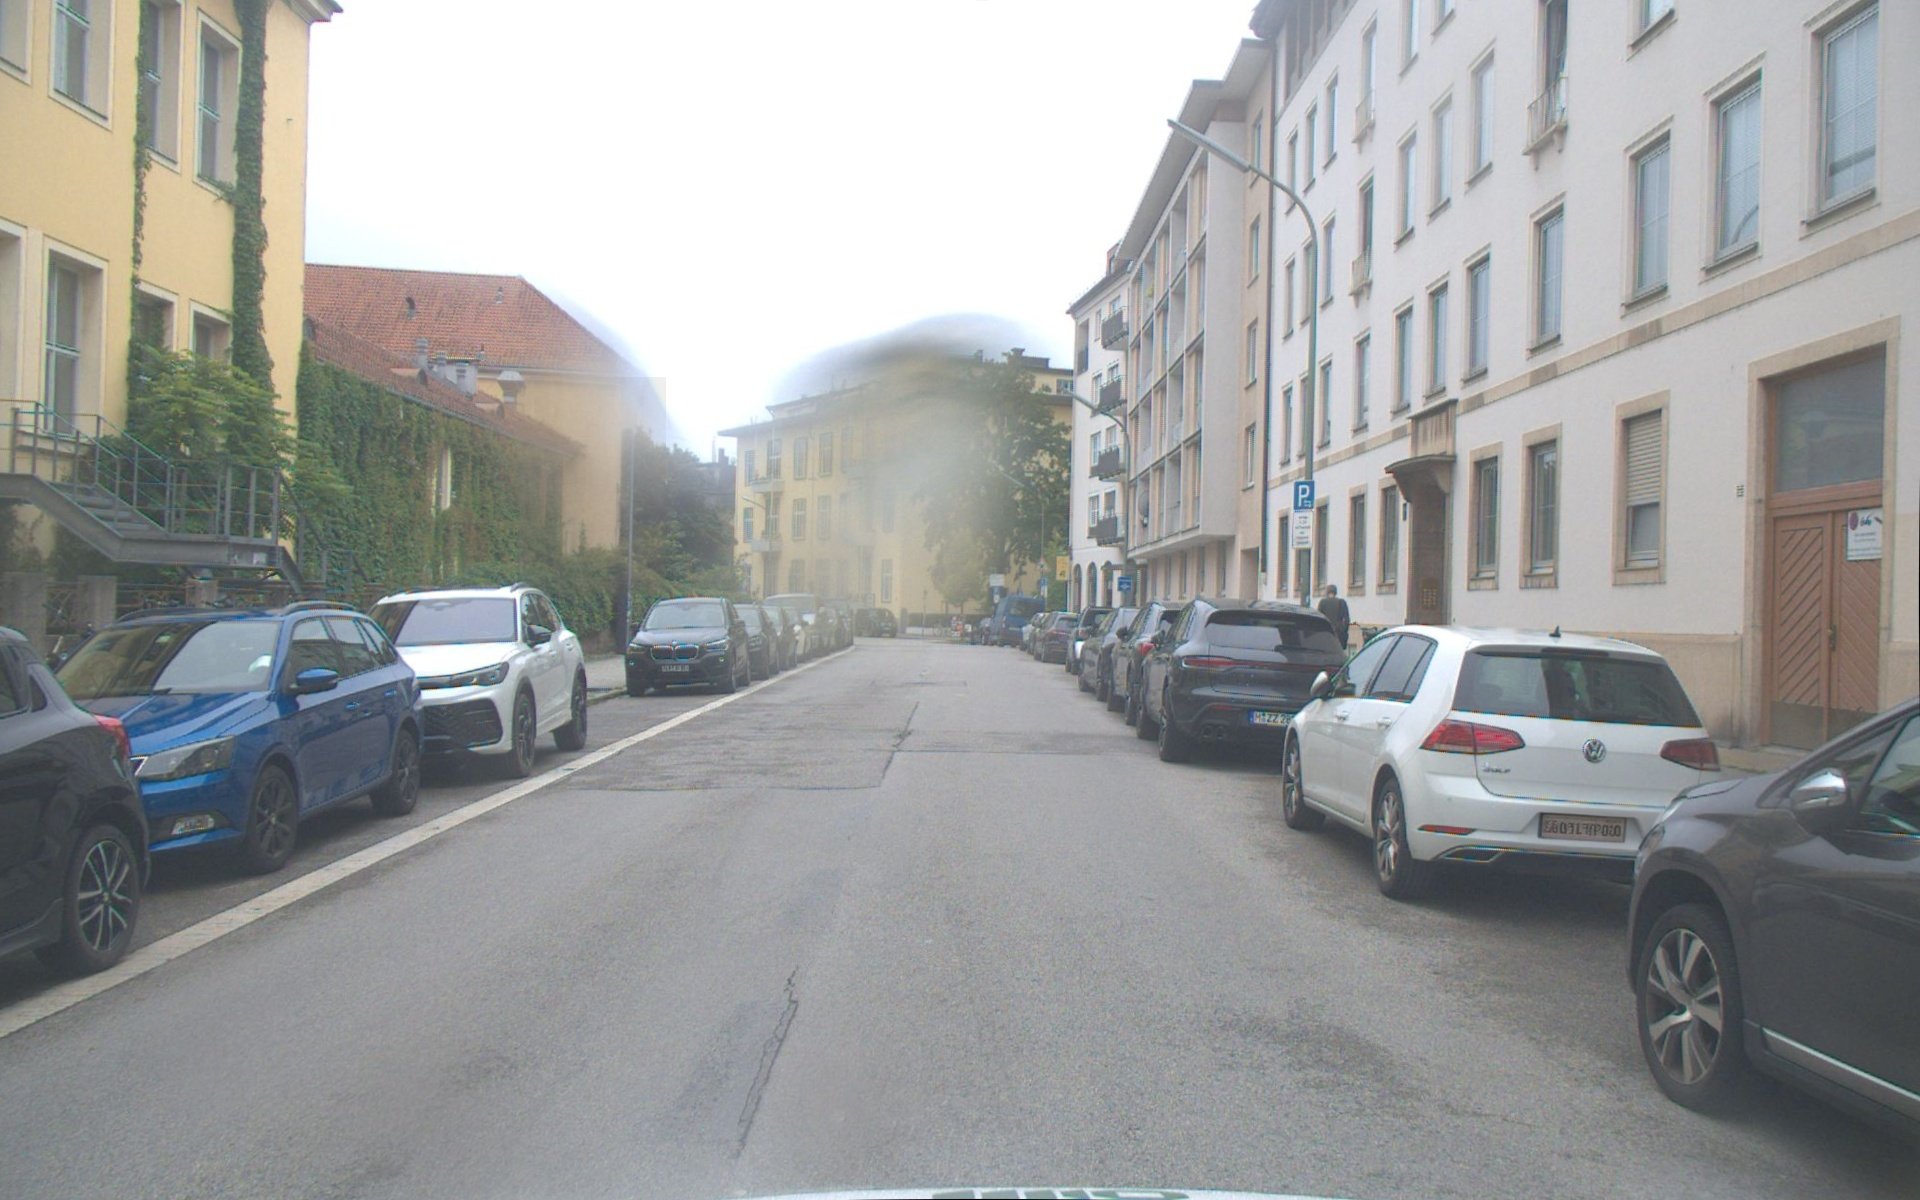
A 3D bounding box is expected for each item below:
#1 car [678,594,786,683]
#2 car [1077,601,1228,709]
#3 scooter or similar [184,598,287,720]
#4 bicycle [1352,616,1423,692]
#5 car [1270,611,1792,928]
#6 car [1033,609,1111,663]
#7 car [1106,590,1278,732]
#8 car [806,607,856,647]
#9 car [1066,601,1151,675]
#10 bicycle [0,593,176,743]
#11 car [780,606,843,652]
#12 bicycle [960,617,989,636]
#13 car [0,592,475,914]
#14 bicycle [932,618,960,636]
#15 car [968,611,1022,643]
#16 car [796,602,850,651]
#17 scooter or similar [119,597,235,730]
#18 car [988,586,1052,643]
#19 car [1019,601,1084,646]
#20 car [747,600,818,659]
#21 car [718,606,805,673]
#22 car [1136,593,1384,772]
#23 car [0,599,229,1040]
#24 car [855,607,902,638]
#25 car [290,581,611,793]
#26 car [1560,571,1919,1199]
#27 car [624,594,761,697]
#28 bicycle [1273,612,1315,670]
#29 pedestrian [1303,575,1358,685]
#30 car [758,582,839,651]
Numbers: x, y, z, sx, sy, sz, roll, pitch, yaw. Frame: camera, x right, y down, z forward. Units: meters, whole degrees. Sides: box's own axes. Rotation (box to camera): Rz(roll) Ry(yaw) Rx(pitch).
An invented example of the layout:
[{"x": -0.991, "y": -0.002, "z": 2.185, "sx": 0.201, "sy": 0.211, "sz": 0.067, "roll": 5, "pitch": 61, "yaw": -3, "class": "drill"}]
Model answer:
[{"x": -4.611, "y": 0.753, "z": 33.983, "sx": 1.689, "sy": 1.658, "sz": 4.464, "roll": -1, "pitch": 0, "yaw": -2, "class": "car"}, {"x": 3.104, "y": 0.846, "z": 27.709, "sx": 1.766, "sy": 1.510, "sz": 5.318, "roll": 4, "pitch": 0, "yaw": -1, "class": "car"}, {"x": -8.616, "y": 0.681, "z": 19.724, "sx": 0.548, "sy": 1.393, "sz": 1.501, "roll": 0, "pitch": 0, "yaw": 0, "class": "scooter or similar"}, {"x": 7.429, "y": 0.917, "z": 28.805, "sx": 0.503, "sy": 1.243, "sz": 1.986, "roll": 1, "pitch": 0, "yaw": -7, "class": "bicycle"}, {"x": 3.192, "y": 0.836, "z": 10.273, "sx": 1.638, "sy": 1.454, "sz": 4.530, "roll": 3, "pitch": 0, "yaw": 0, "class": "car"}, {"x": 3.253, "y": 1.015, "z": 48.809, "sx": 1.710, "sy": 1.412, "sz": 4.951, "roll": 3, "pitch": 0, "yaw": -2, "class": "car"}, {"x": 3.027, "y": 0.760, "z": 22.455, "sx": 1.612, "sy": 1.617, "sz": 4.634, "roll": 4, "pitch": 0, "yaw": 0, "class": "car"}, {"x": -5.052, "y": 1.050, "z": 65.369, "sx": 1.660, "sy": 1.417, "sz": 4.499, "roll": -3, "pitch": 0, "yaw": -2, "class": "car"}, {"x": 3.372, "y": 0.849, "z": 38.016, "sx": 1.616, "sy": 1.521, "sz": 2.881, "roll": 4, "pitch": 0, "yaw": 0, "class": "car"}, {"x": -8.520, "y": 0.630, "z": 16.157, "sx": 0.667, "sy": 1.352, "sz": 2.113, "roll": 1, "pitch": 0, "yaw": 0, "class": "bicycle"}, {"x": -4.932, "y": 0.945, "z": 55.306, "sx": 1.619, "sy": 1.439, "sz": 4.770, "roll": -2, "pitch": 0, "yaw": 0, "class": "car"}, {"x": 0.983, "y": 1.798, "z": 112.070, "sx": 1.881, "sy": 1.222, "sz": 0.596, "roll": 1, "pitch": -1, "yaw": 13, "class": "bicycle"}, {"x": -4.577, "y": 0.801, "z": 10.534, "sx": 1.669, "sy": 1.528, "sz": 4.493, "roll": -4, "pitch": 0, "yaw": -2, "class": "car"}, {"x": -0.949, "y": 1.838, "z": 113.254, "sx": 1.890, "sy": 1.222, "sz": 0.593, "roll": 1, "pitch": -1, "yaw": 37, "class": "bicycle"}, {"x": 1.706, "y": 1.304, "z": 81.932, "sx": 1.648, "sy": 1.413, "sz": 4.292, "roll": 5, "pitch": -2, "yaw": -12, "class": "car"}, {"x": -4.932, "y": 0.934, "z": 60.066, "sx": 1.663, "sy": 1.671, "sz": 4.489, "roll": -2, "pitch": -1, "yaw": -1, "class": "car"}, {"x": -8.577, "y": 0.667, "z": 18.173, "sx": 0.548, "sy": 1.393, "sz": 1.501, "roll": 0, "pitch": 0, "yaw": 0, "class": "scooter or similar"}, {"x": 2.700, "y": 0.720, "z": 75.804, "sx": 2.040, "sy": 2.272, "sz": 5.236, "roll": 5, "pitch": -3, "yaw": -6, "class": "car"}, {"x": 3.493, "y": 0.901, "z": 64.120, "sx": 1.751, "sy": 1.560, "sz": 4.642, "roll": 4, "pitch": -1, "yaw": -6, "class": "car"}, {"x": -4.710, "y": 0.776, "z": 44.310, "sx": 1.559, "sy": 1.466, "sz": 4.017, "roll": -1, "pitch": 0, "yaw": -2, "class": "car"}, {"x": -4.629, "y": 0.900, "z": 39.055, "sx": 1.571, "sy": 1.455, "sz": 4.250, "roll": -2, "pitch": 0, "yaw": -1, "class": "car"}, {"x": 2.985, "y": 0.768, "z": 17.432, "sx": 1.802, "sy": 1.548, "sz": 4.709, "roll": 2, "pitch": 0, "yaw": 1, "class": "car"}, {"x": -4.175, "y": 0.795, "z": 5.429, "sx": 1.665, "sy": 1.523, "sz": 4.148, "roll": -3, "pitch": 0, "yaw": 0, "class": "car"}, {"x": -5.580, "y": 1.516, "z": 112.260, "sx": 1.738, "sy": 1.907, "sz": 4.350, "roll": 6, "pitch": -2, "yaw": -22, "class": "car"}, {"x": -4.538, "y": 0.697, "z": 15.502, "sx": 1.711, "sy": 1.662, "sz": 4.853, "roll": 0, "pitch": 0, "yaw": -3, "class": "car"}, {"x": 3.231, "y": 0.774, "z": 4.078, "sx": 1.672, "sy": 1.620, "sz": 4.359, "roll": 2, "pitch": 0, "yaw": -3, "class": "car"}, {"x": -4.606, "y": 0.744, "z": 29.126, "sx": 1.753, "sy": 1.614, "sz": 4.816, "roll": -2, "pitch": 0, "yaw": -2, "class": "car"}, {"x": 7.421, "y": 0.886, "z": 36.788, "sx": 0.519, "sy": 1.239, "sz": 2.103, "roll": 1, "pitch": 0, "yaw": 1, "class": "bicycle"}, {"x": 6.191, "y": 0.512, "z": 27.662, "sx": 0.708, "sy": 1.794, "sz": 0.904, "roll": 1, "pitch": -2, "yaw": 0, "class": "pedestrian"}, {"x": -4.792, "y": 0.491, "z": 49.704, "sx": 1.848, "sy": 1.923, "sz": 4.774, "roll": -2, "pitch": -1, "yaw": 1, "class": "car"}]
